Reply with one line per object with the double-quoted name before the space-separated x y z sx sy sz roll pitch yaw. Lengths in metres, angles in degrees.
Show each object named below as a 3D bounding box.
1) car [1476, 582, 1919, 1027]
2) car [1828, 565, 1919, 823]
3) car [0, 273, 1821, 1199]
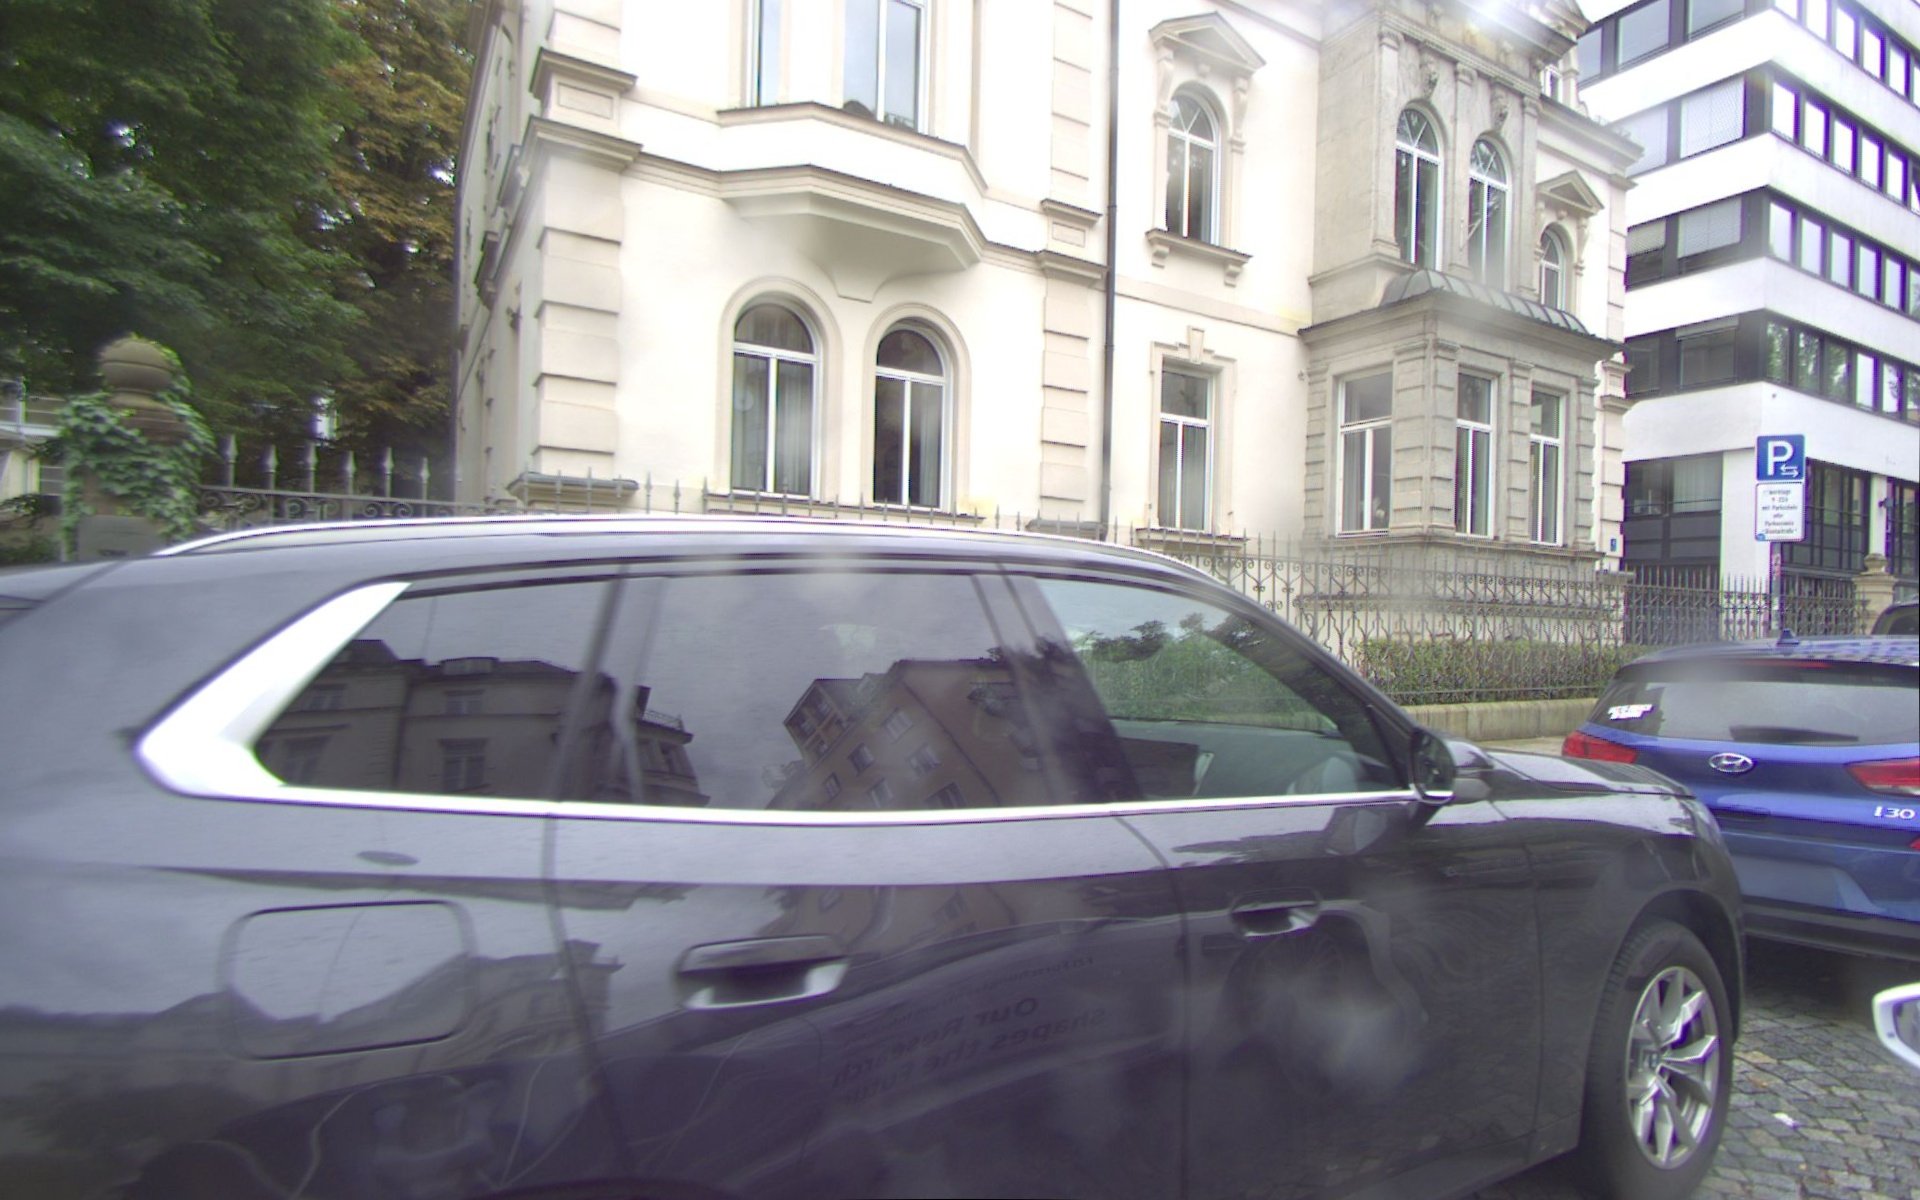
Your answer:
"car" 4.620 0.733 4.899 4.012 1.478 1.929 2 0 -32
"car" 8.587 0.686 7.653 4.122 1.774 1.883 1 -1 -32
"car" 0.145 0.632 2.500 4.341 1.740 1.764 2 0 -32
